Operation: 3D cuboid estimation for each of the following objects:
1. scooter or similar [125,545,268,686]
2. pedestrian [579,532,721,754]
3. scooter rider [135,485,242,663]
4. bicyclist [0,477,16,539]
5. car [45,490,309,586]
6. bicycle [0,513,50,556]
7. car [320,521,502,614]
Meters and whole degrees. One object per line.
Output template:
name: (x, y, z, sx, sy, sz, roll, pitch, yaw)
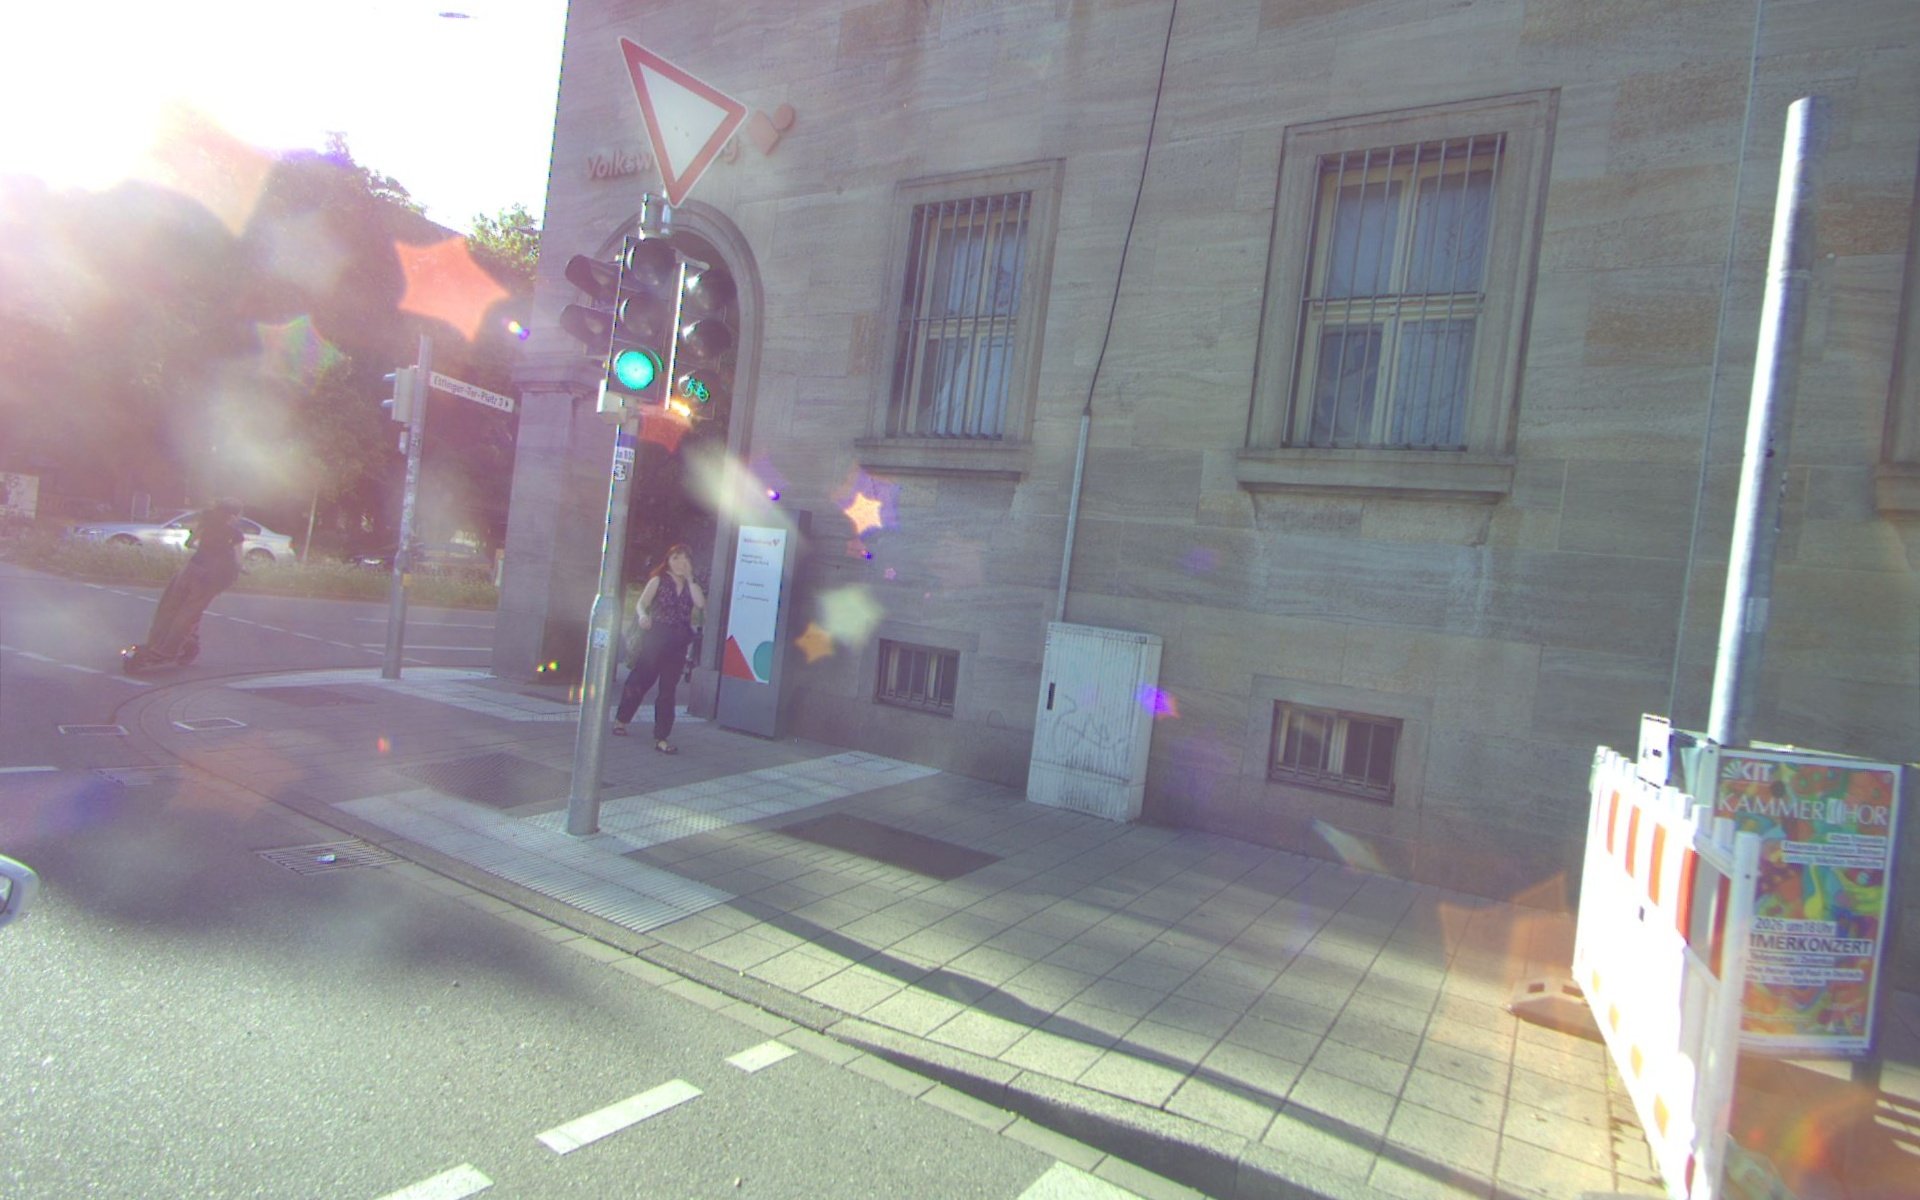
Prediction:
scooter or similar: (-7.221, 0.137, 9.506, 1.251, 1.163, 0.574, 7, -1, 33)
pedestrian: (-2.468, 0.322, 8.017, 0.799, 1.629, 0.596, 7, 4, 31)
scooter rider: (-7.273, -0.237, 9.510, 0.539, 1.581, 0.573, 7, 0, -25)
bicyclist: (-22.736, -2.201, 23.524, 0.692, 1.422, 0.747, 7, -1, 38)
car: (-18.921, -1.450, 24.550, 1.967, 1.534, 4.585, 7, -2, 32)
bicycle: (-22.759, -1.626, 23.593, 0.707, 0.900, 1.944, 6, -2, 38)
car: (-15.728, -0.879, 29.001, 1.968, 2.037, 3.993, 7, -2, 33)
